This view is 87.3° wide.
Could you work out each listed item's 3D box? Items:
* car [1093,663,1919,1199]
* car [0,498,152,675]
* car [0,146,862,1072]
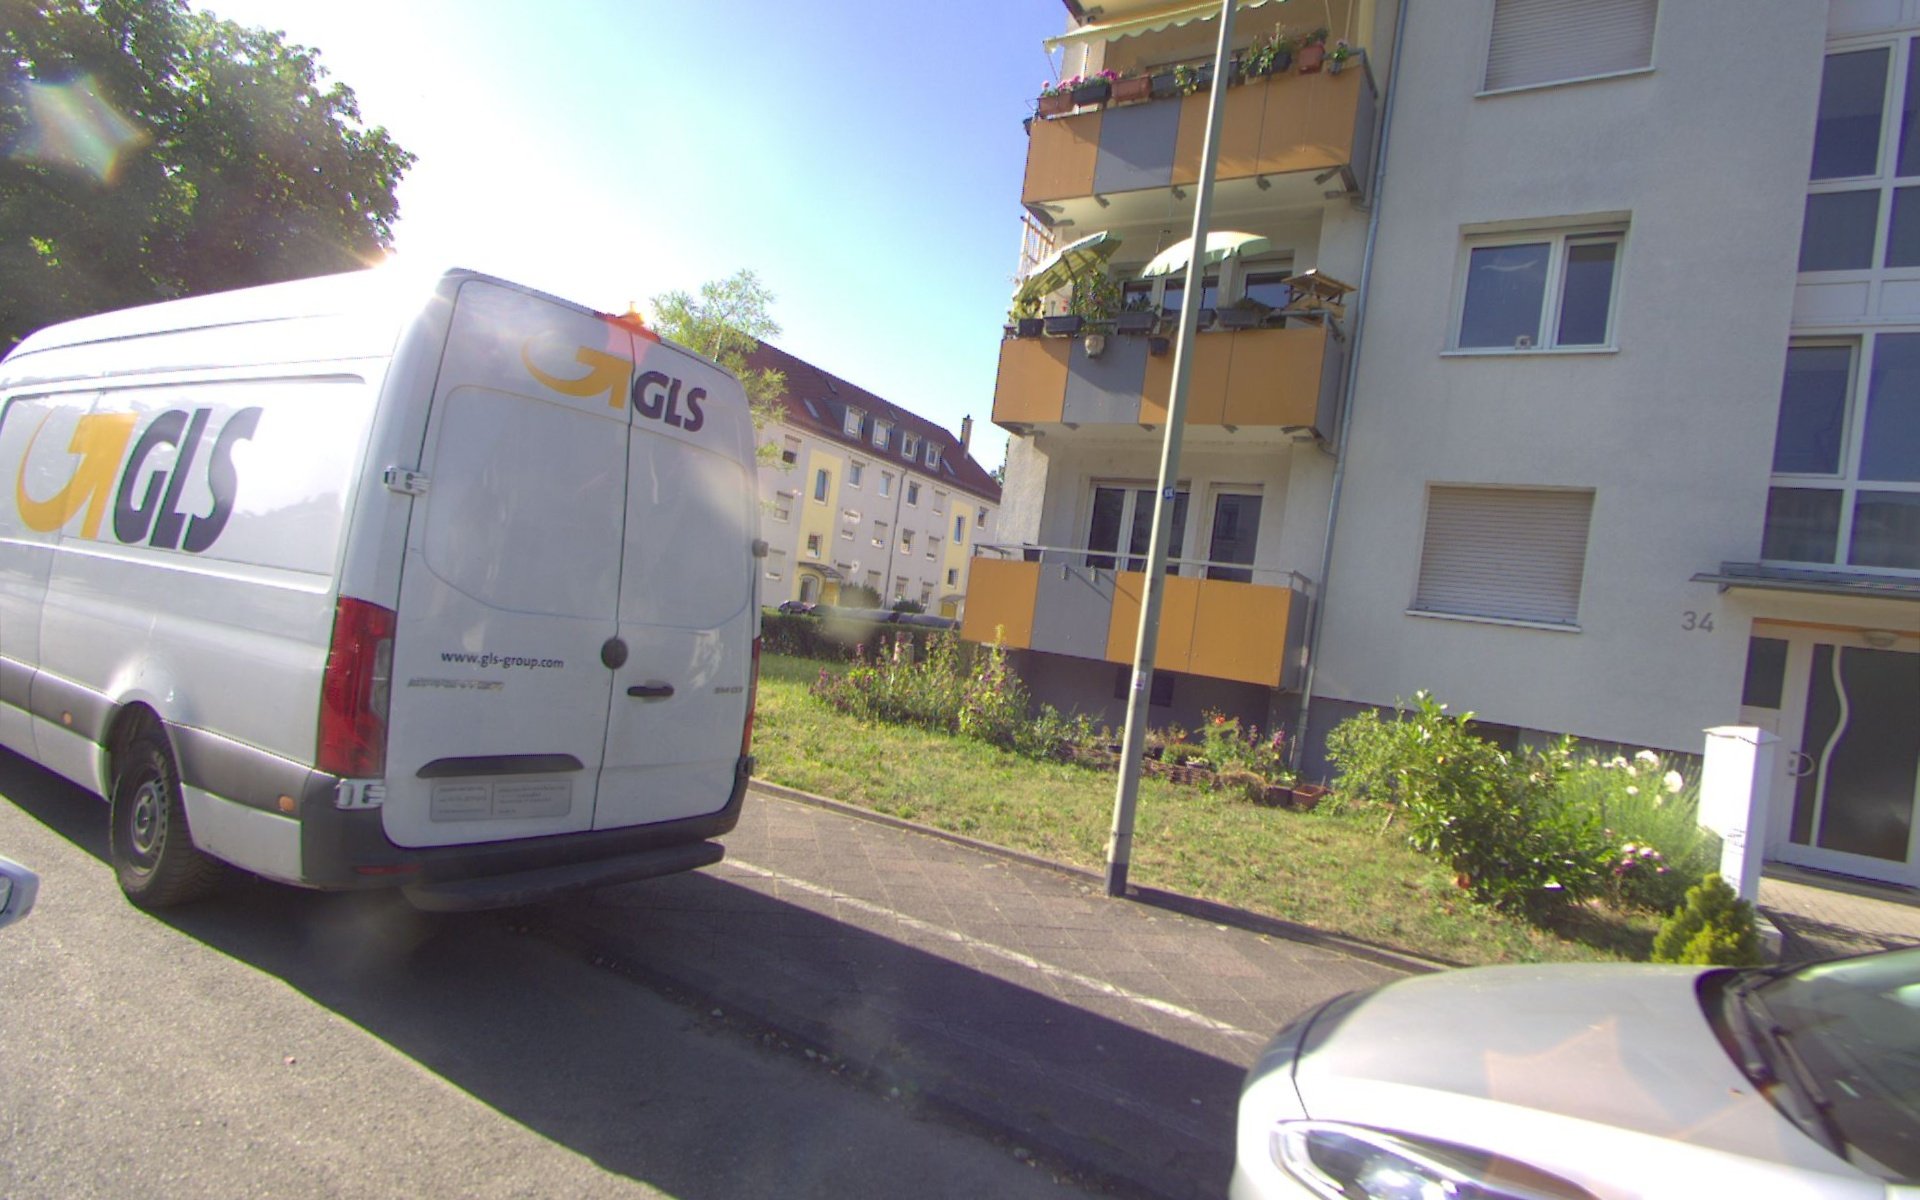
[{"bbox_3d":[2.460,1.174,1.434,4.131,1.482,1.854,7,-2,31],"label":"car"},{"bbox_3d":[-10.228,-0.322,9.992,4.424,1.500,1.961,7,0,31],"label":"car"},{"bbox_3d":[-3.980,-0.222,5.720,6.730,2.747,2.144,7,0,33],"label":"car"}]
